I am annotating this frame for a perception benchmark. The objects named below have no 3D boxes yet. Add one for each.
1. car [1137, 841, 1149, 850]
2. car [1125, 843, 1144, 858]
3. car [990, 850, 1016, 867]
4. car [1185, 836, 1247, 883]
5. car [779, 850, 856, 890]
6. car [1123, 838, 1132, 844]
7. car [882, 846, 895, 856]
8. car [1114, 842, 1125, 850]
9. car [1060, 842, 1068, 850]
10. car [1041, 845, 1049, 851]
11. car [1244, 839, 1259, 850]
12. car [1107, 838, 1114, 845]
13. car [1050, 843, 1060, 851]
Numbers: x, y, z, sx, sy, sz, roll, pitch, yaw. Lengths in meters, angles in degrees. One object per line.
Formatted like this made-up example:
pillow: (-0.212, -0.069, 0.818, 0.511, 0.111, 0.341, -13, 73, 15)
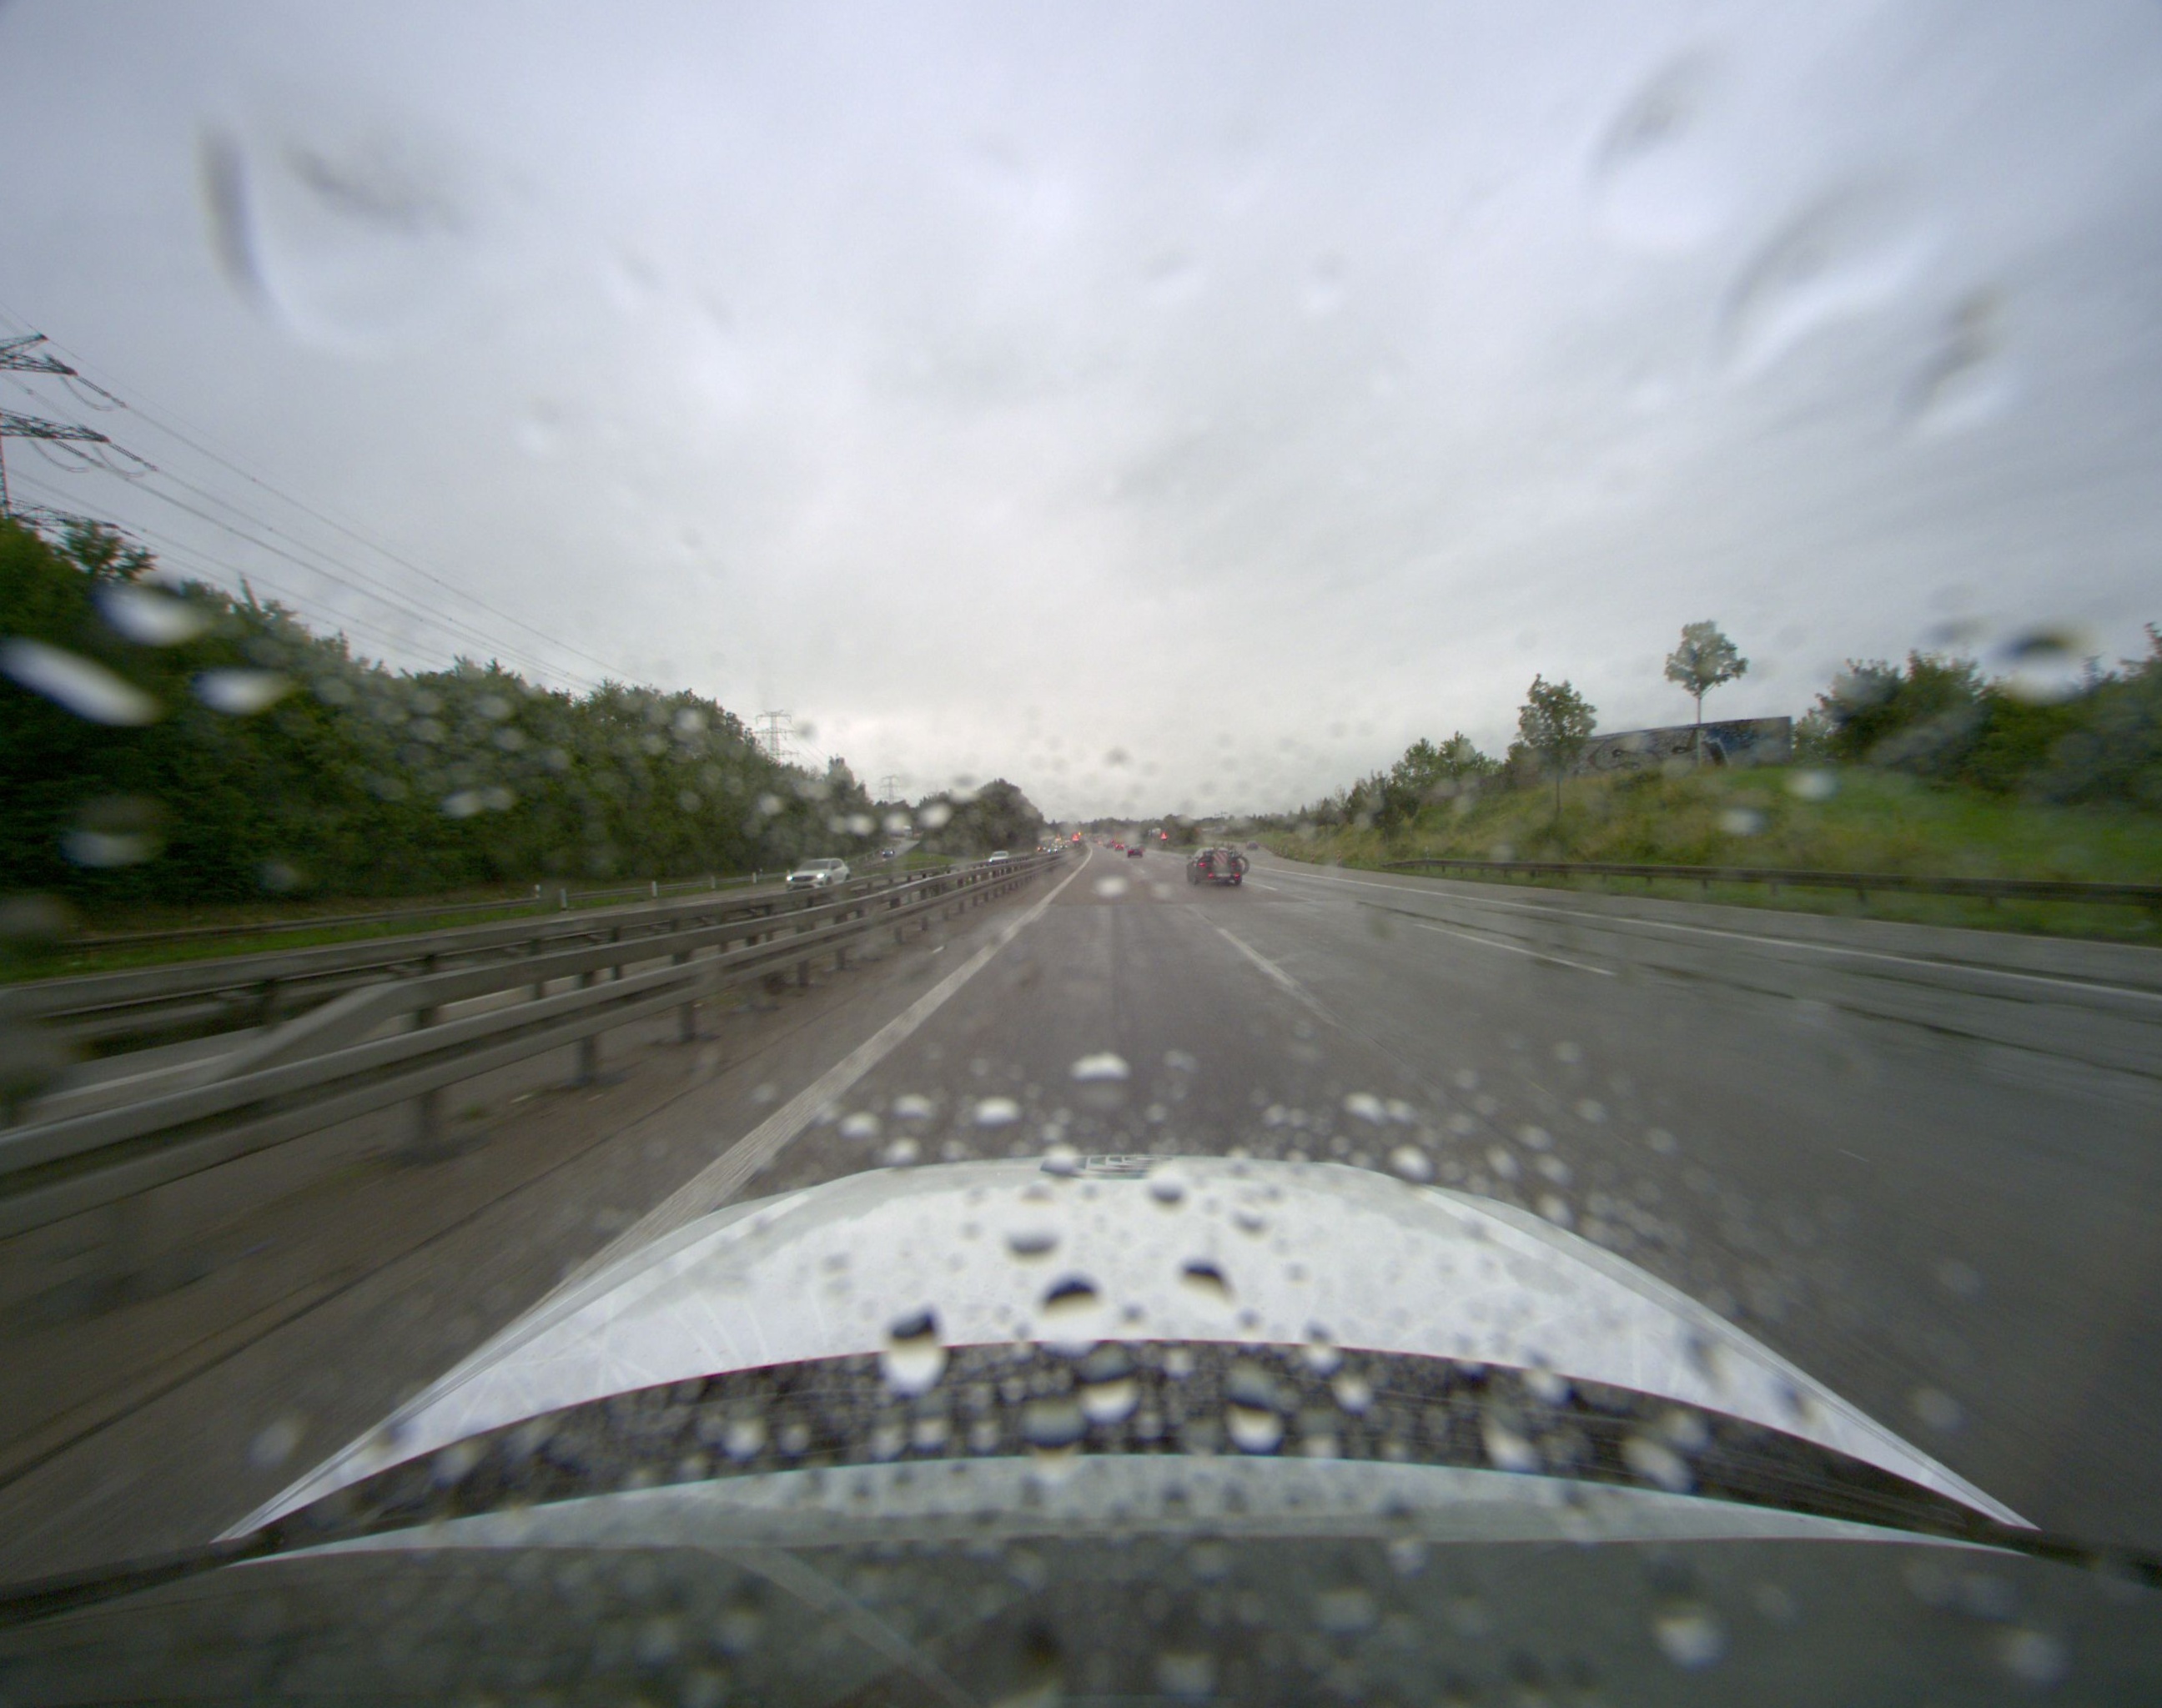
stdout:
car: (11.939, -1.672, 156.088, 1.987, 1.760, 4.000, -1, 1, 0)
car: (6.581, -0.486, 100.681, 1.987, 1.760, 4.000, -3, 1, 0)
car: (-7.376, 0.414, 77.386, 1.751, 1.461, 4.764, -4, 0, 2)
car: (5.269, 0.199, 32.505, 2.048, 1.671, 5.530, -1, 0, 5)
car: (-12.238, 0.680, 38.159, 1.897, 1.665, 4.716, -3, 0, 2)
car: (13.043, -3.599, 228.652, 1.987, 1.628, 4.000, -3, 1, 0)
car: (-33.107, -0.473, 140.122, 1.968, 1.543, 3.987, -3, 1, -9)
car: (8.061, -1.717, 169.231, 1.987, 1.628, 4.000, -3, 1, 0)
car: (-4.961, -2.364, 238.085, 1.815, 2.036, 4.792, -3, 1, 1)
car: (-9.349, -1.587, 211.203, 1.815, 1.623, 4.792, -3, 1, 1)
car: (27.776, -1.523, 132.783, 1.912, 1.709, 4.008, -3, 1, 7)
car: (8.088, -3.405, 223.708, 1.987, 1.628, 4.000, -3, 1, 0)
car: (-5.358, -1.386, 168.492, 1.815, 1.512, 4.792, -3, 1, 1)
